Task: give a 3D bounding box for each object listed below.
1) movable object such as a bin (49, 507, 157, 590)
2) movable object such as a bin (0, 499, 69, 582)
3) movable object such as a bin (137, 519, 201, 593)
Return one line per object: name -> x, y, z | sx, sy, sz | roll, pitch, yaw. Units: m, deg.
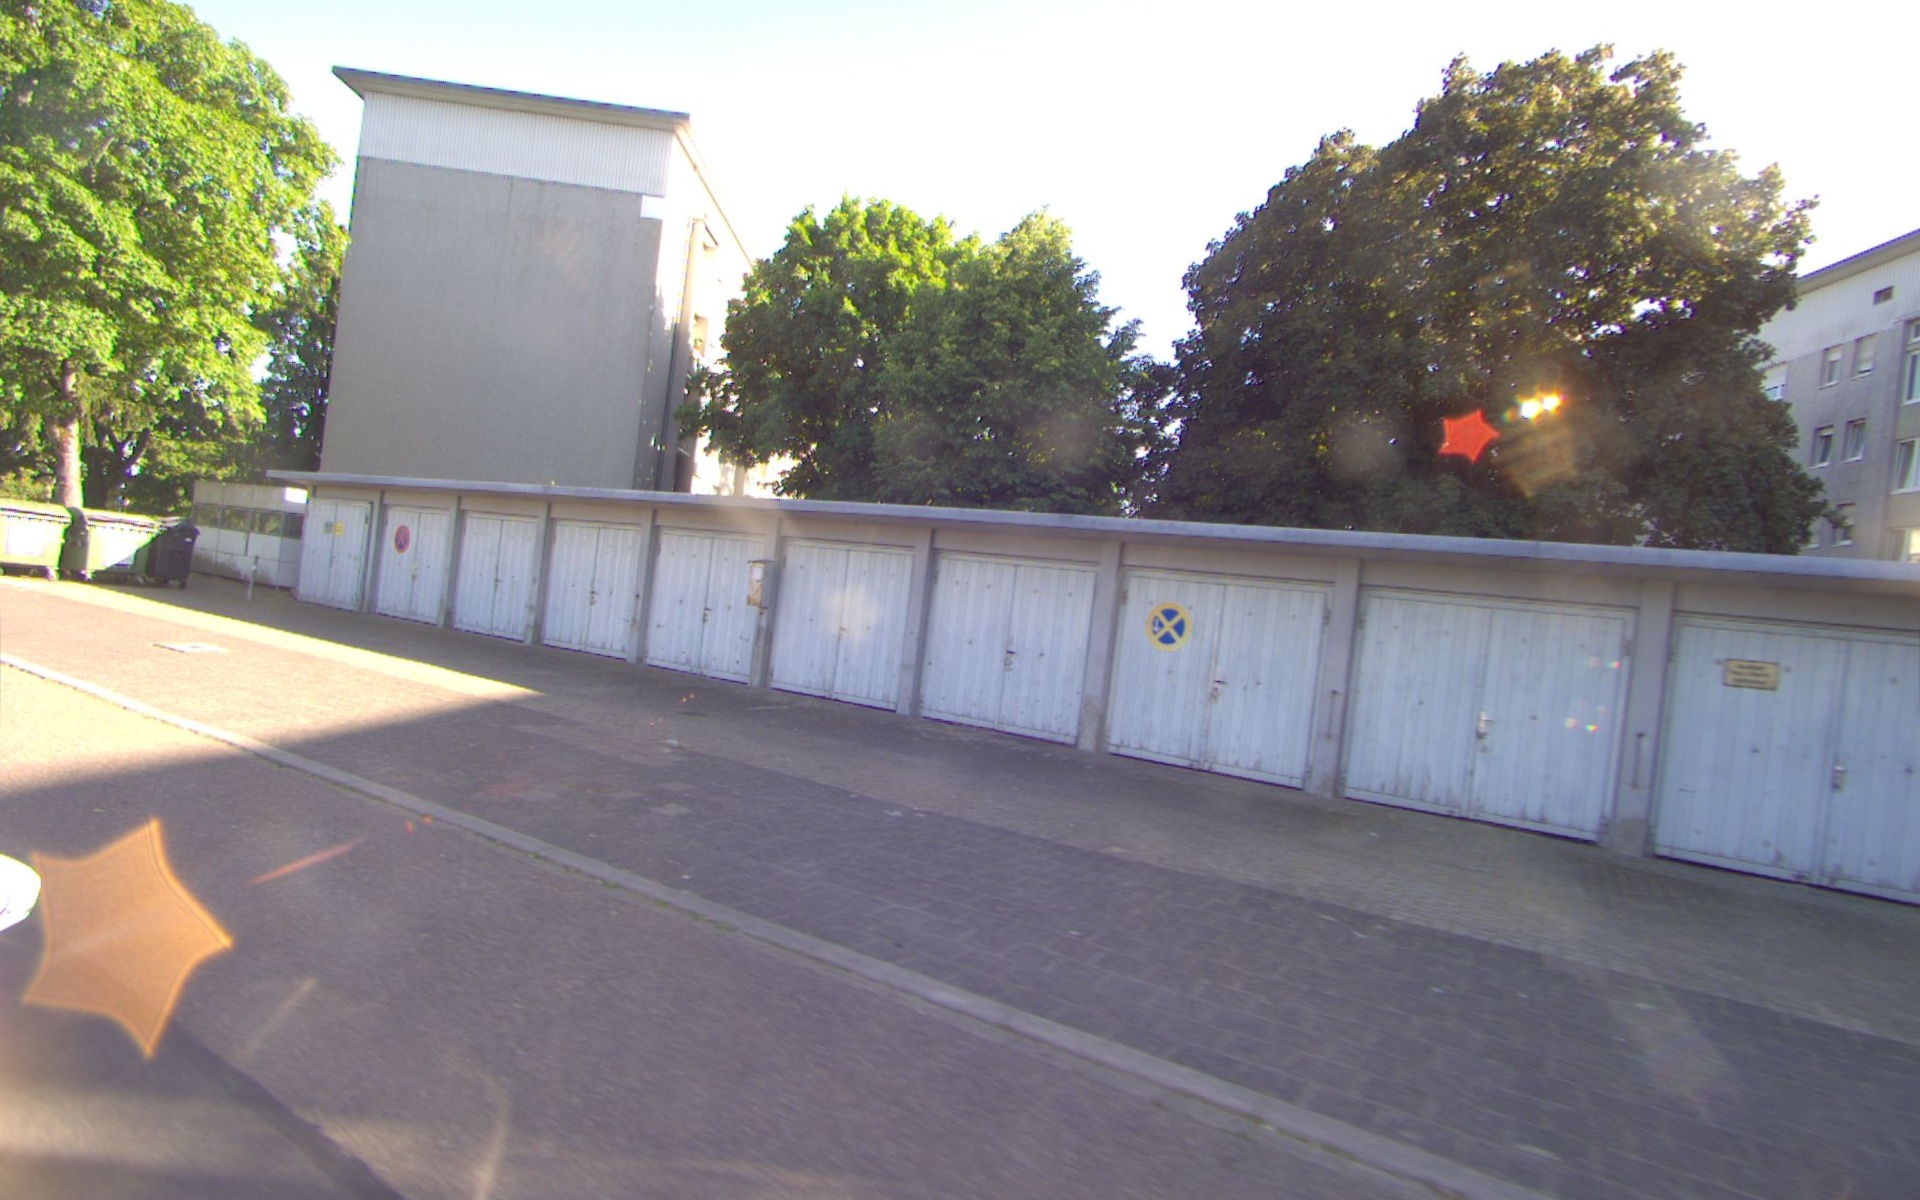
movable object such as a bin -> -17.017, -1.015, 19.991 | 0.935, 1.432, 1.277 | 6, -1, 28
movable object such as a bin -> -17.663, -1.128, 18.742 | 0.899, 1.420, 1.240 | 6, -1, 28
movable object such as a bin -> -16.427, -0.907, 20.905 | 0.677, 1.432, 0.725 | 6, -1, 28
